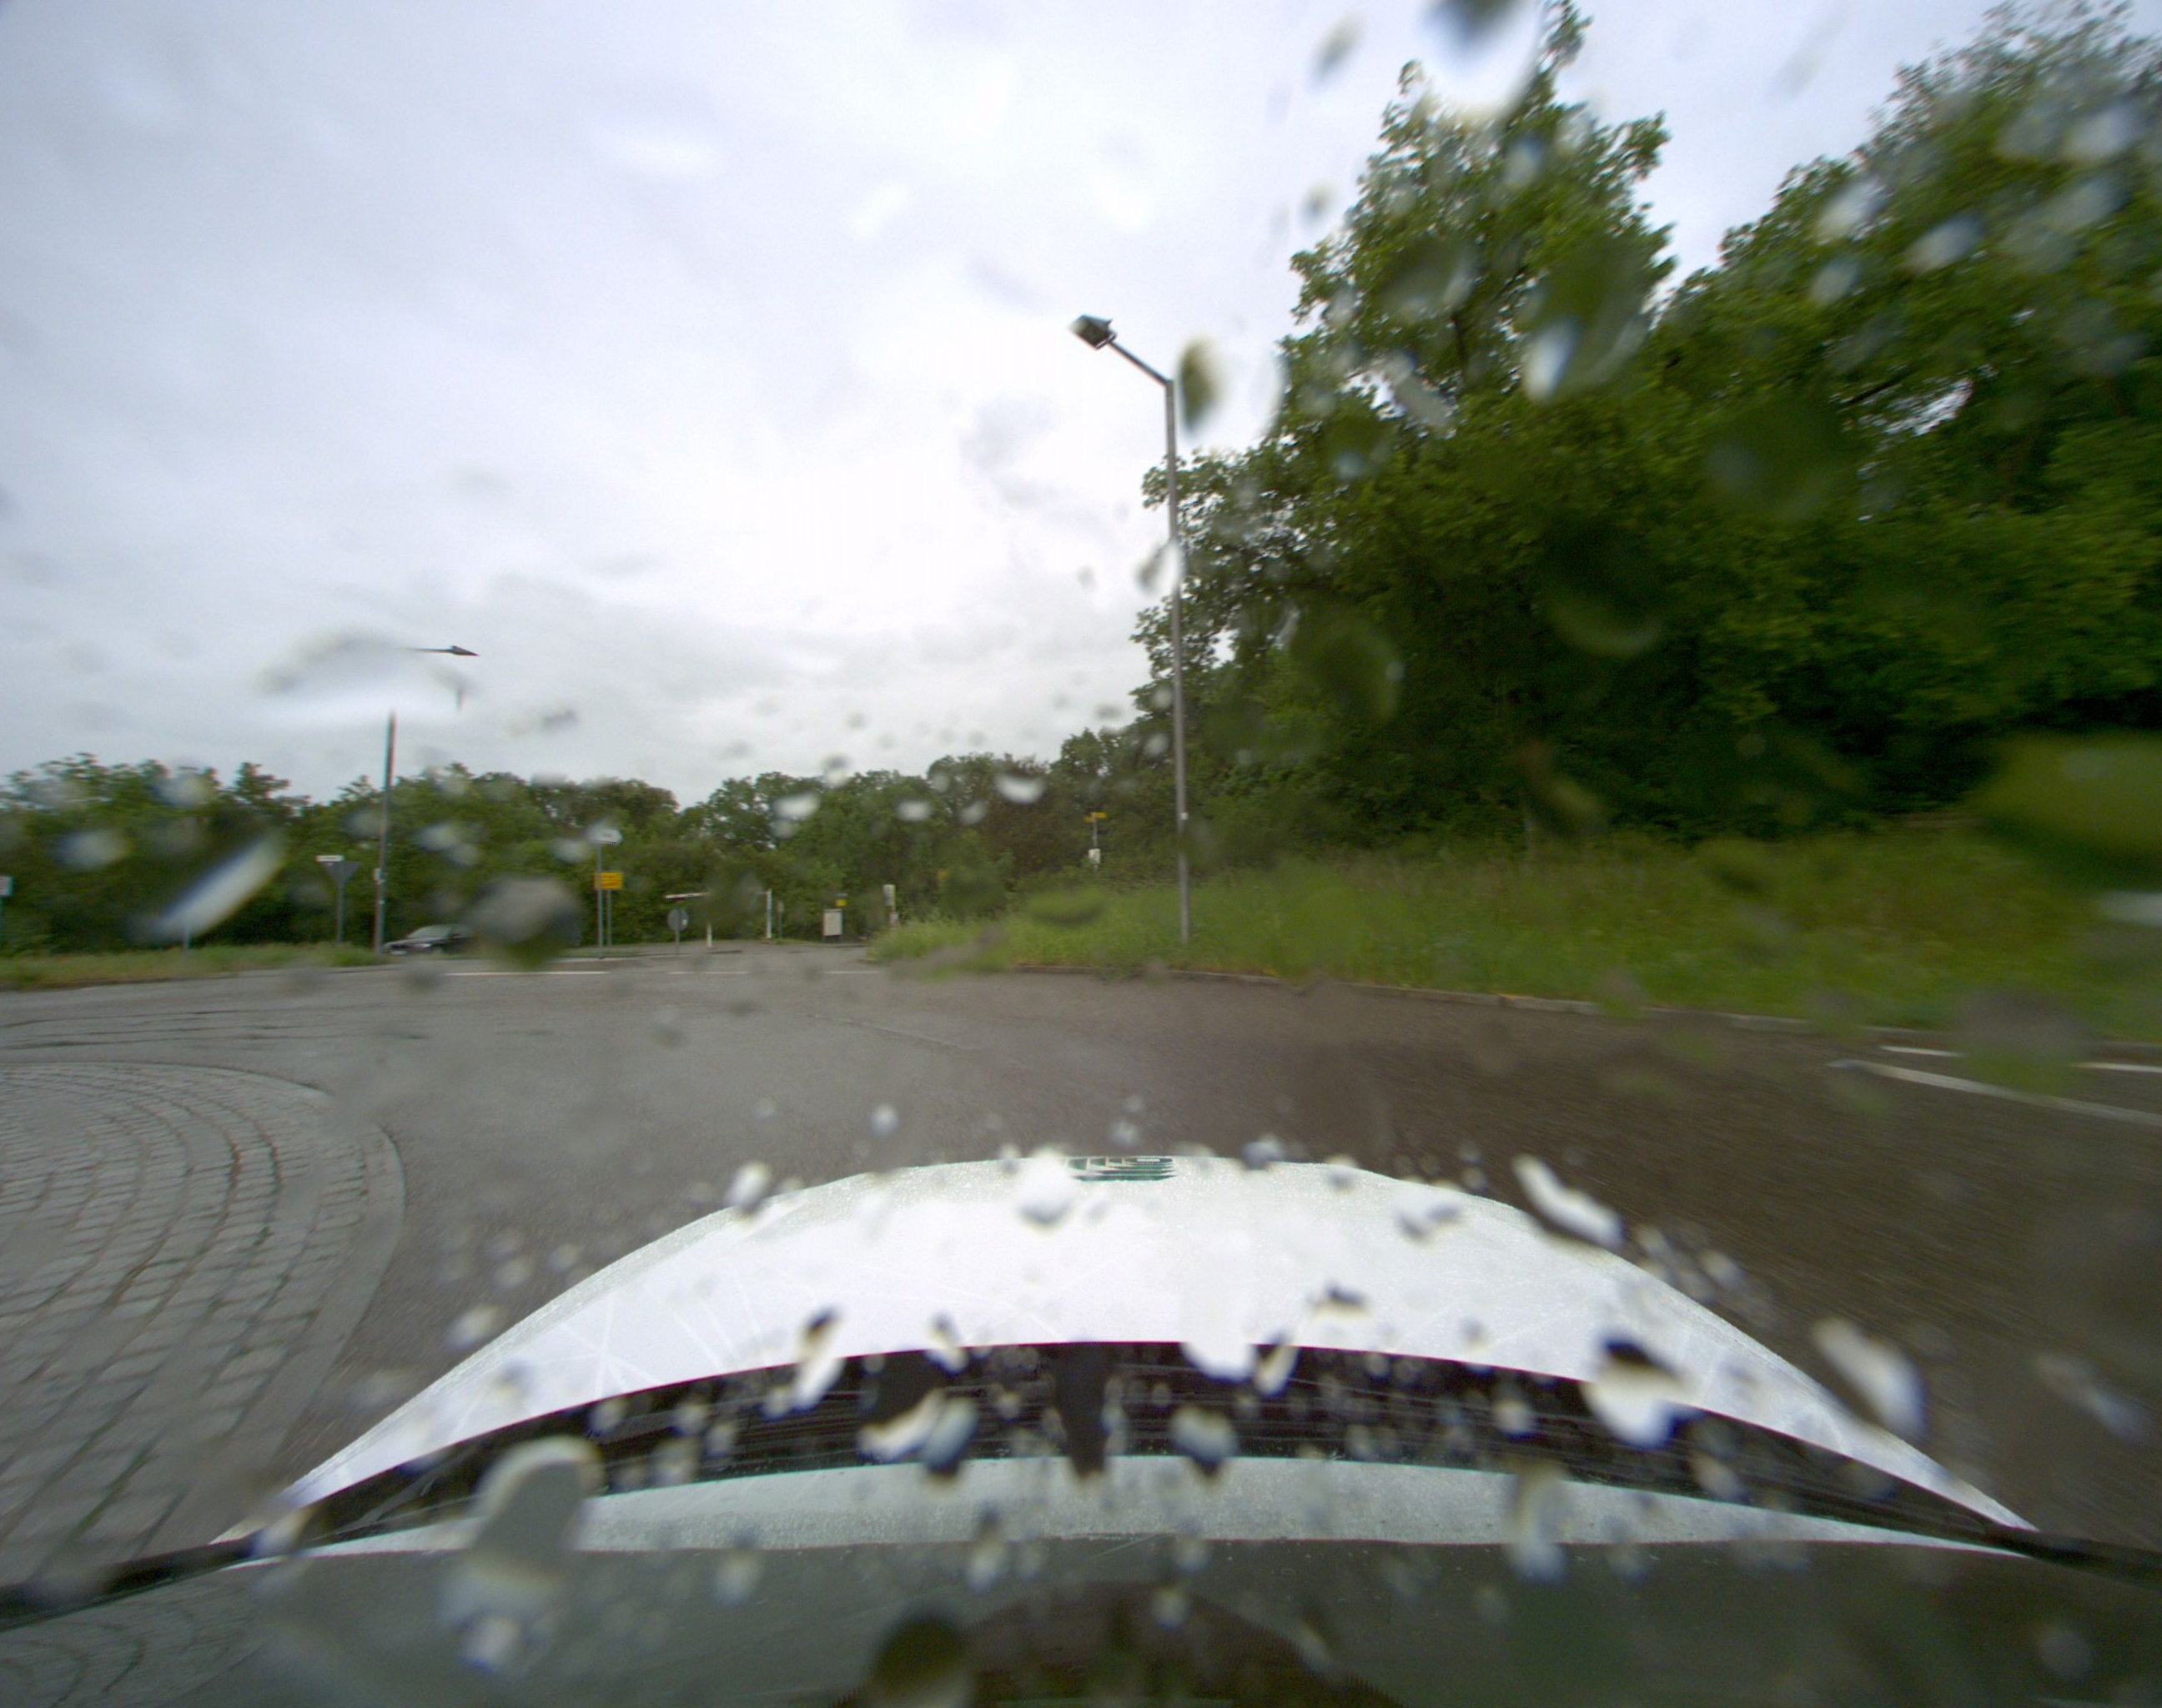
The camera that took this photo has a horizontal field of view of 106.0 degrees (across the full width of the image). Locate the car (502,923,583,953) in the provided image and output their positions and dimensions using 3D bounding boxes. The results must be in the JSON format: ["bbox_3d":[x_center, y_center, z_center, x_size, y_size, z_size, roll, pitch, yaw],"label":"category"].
[{"bbox_3d":[-27.784,4.314,42.180,1.598,1.356,4.117,-1,-3,-3],"label":"car"}]

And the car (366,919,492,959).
[{"bbox_3d":[-24.695,3.238,31.049,1.618,1.356,4.179,-1,-6,-5],"label":"car"}]
